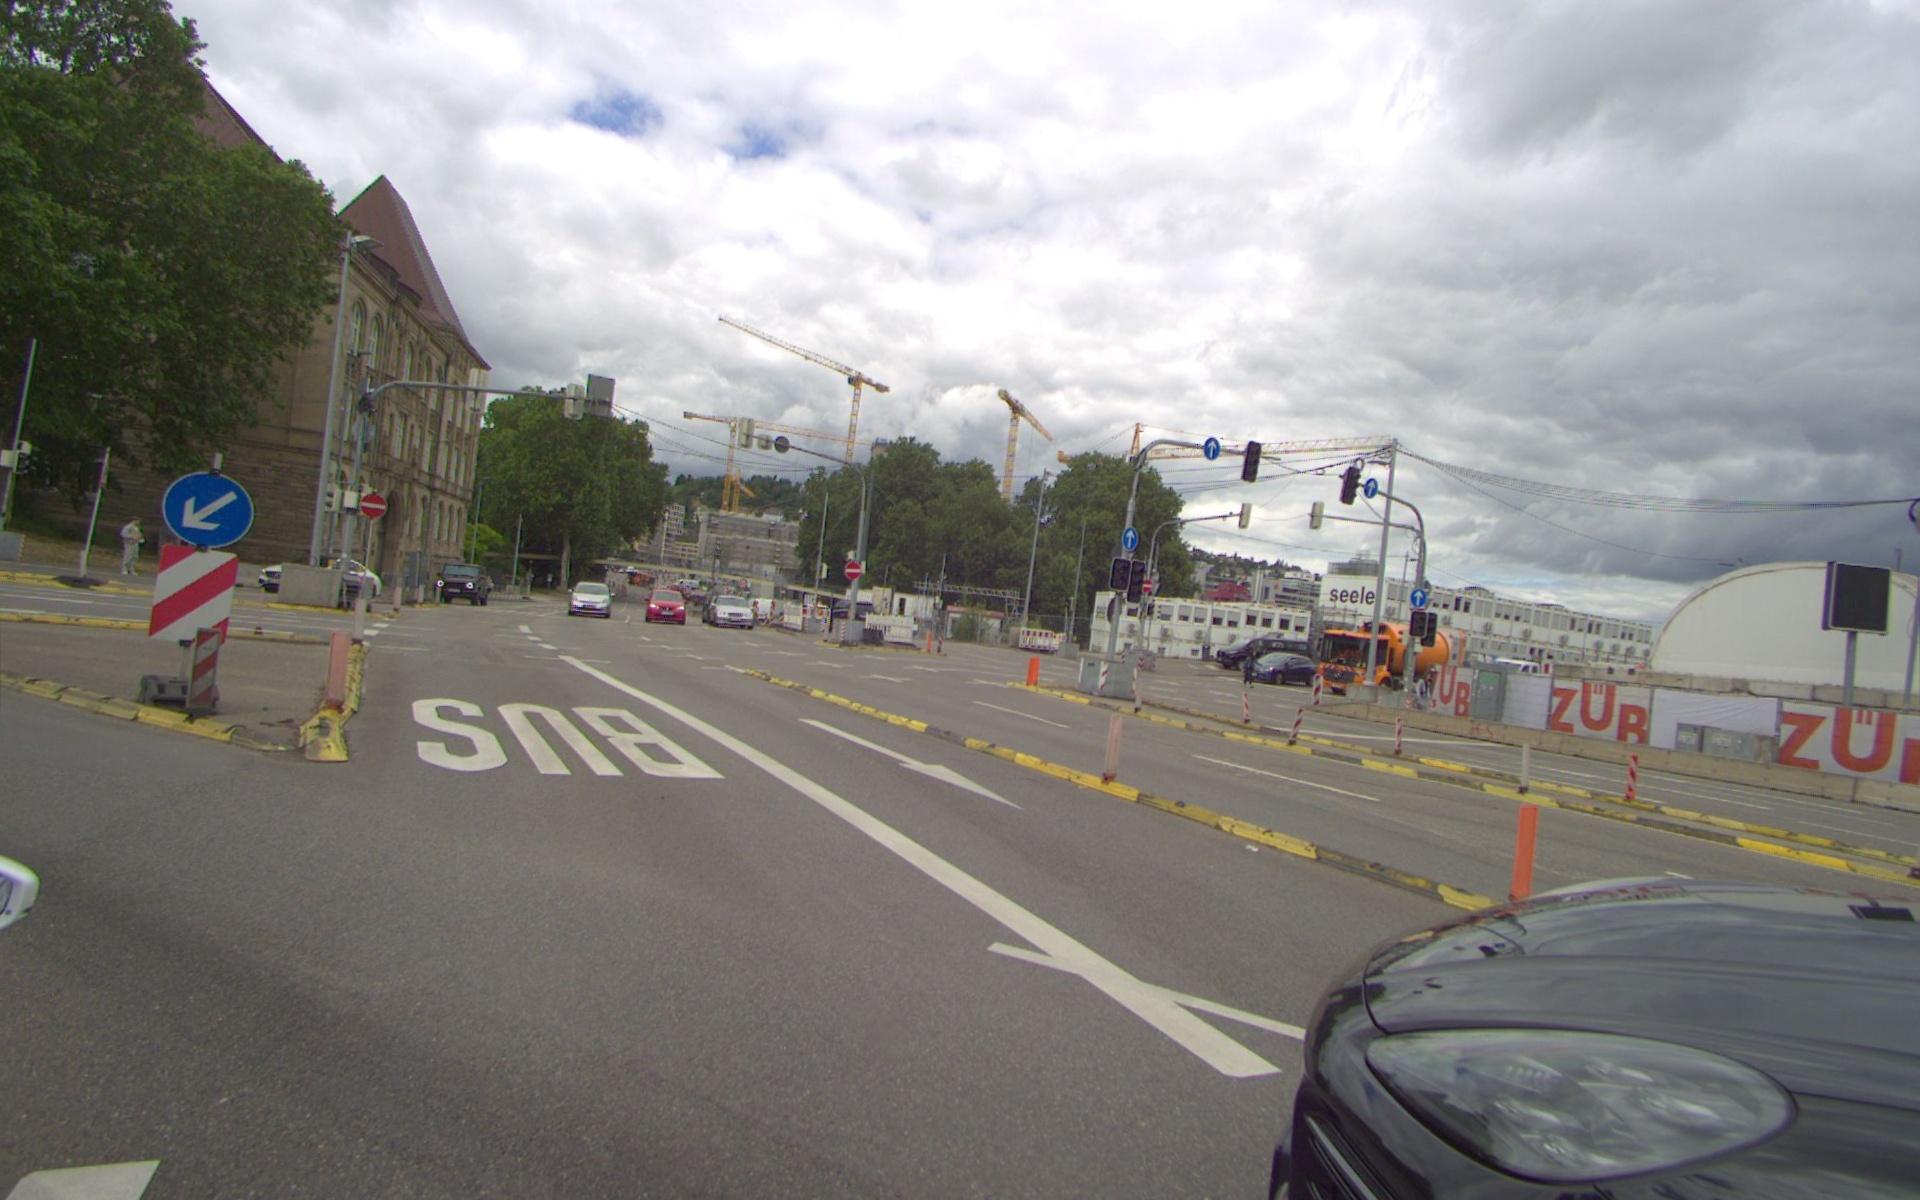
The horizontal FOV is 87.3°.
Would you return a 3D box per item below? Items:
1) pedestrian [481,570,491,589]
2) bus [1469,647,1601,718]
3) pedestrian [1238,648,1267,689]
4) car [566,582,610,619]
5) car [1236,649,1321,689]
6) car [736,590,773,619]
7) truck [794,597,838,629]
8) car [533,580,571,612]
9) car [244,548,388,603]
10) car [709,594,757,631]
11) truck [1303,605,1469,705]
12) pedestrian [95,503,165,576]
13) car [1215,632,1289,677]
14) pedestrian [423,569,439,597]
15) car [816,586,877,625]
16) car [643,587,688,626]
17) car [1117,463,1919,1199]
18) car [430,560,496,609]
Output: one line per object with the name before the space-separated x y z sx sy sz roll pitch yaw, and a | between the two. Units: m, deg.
pedestrian | -44.314 -1.899 94.136 0.653 1.655 0.846 6 0 -23
bus | 35.211 5.076 61.455 9.311 3.208 2.788 9 0 -33
pedestrian | 12.393 2.902 42.659 0.618 1.611 0.841 6 0 -41
car | -16.275 0.017 44.051 1.641 1.453 3.433 5 -1 -21
car | 15.140 3.278 47.756 4.035 1.453 1.768 8 0 -38
car | -14.251 0.276 69.635 1.741 1.707 3.624 7 -1 -23
truck | -9.857 0.891 68.669 1.915 1.702 3.992 8 0 -21
car | -23.166 -0.236 57.263 1.813 1.587 3.982 6 -1 -21
car | -22.147 -0.792 34.814 1.707 1.452 4.384 8 -1 6
car | -10.232 0.535 45.116 1.669 1.453 3.434 5 -1 -19
truck | 19.853 2.632 46.539 8.955 3.721 2.879 7 1 -39
pedestrian | -25.467 -1.848 30.868 1.184 2.038 1.192 7 0 31
car | 16.663 3.112 57.338 3.972 2.038 1.977 8 0 -40
pedestrian | -32.767 -1.066 62.271 0.653 1.655 0.846 6 0 -23
car | -5.952 0.283 52.347 1.921 1.687 3.620 7 -1 -26
car | -12.894 0.253 43.979 1.666 1.453 3.433 6 0 -19
car | 2.607 0.954 0.823 4.534 1.668 1.952 7 0 34
car | -23.869 -0.704 48.444 1.906 1.960 3.669 5 -3 -12
